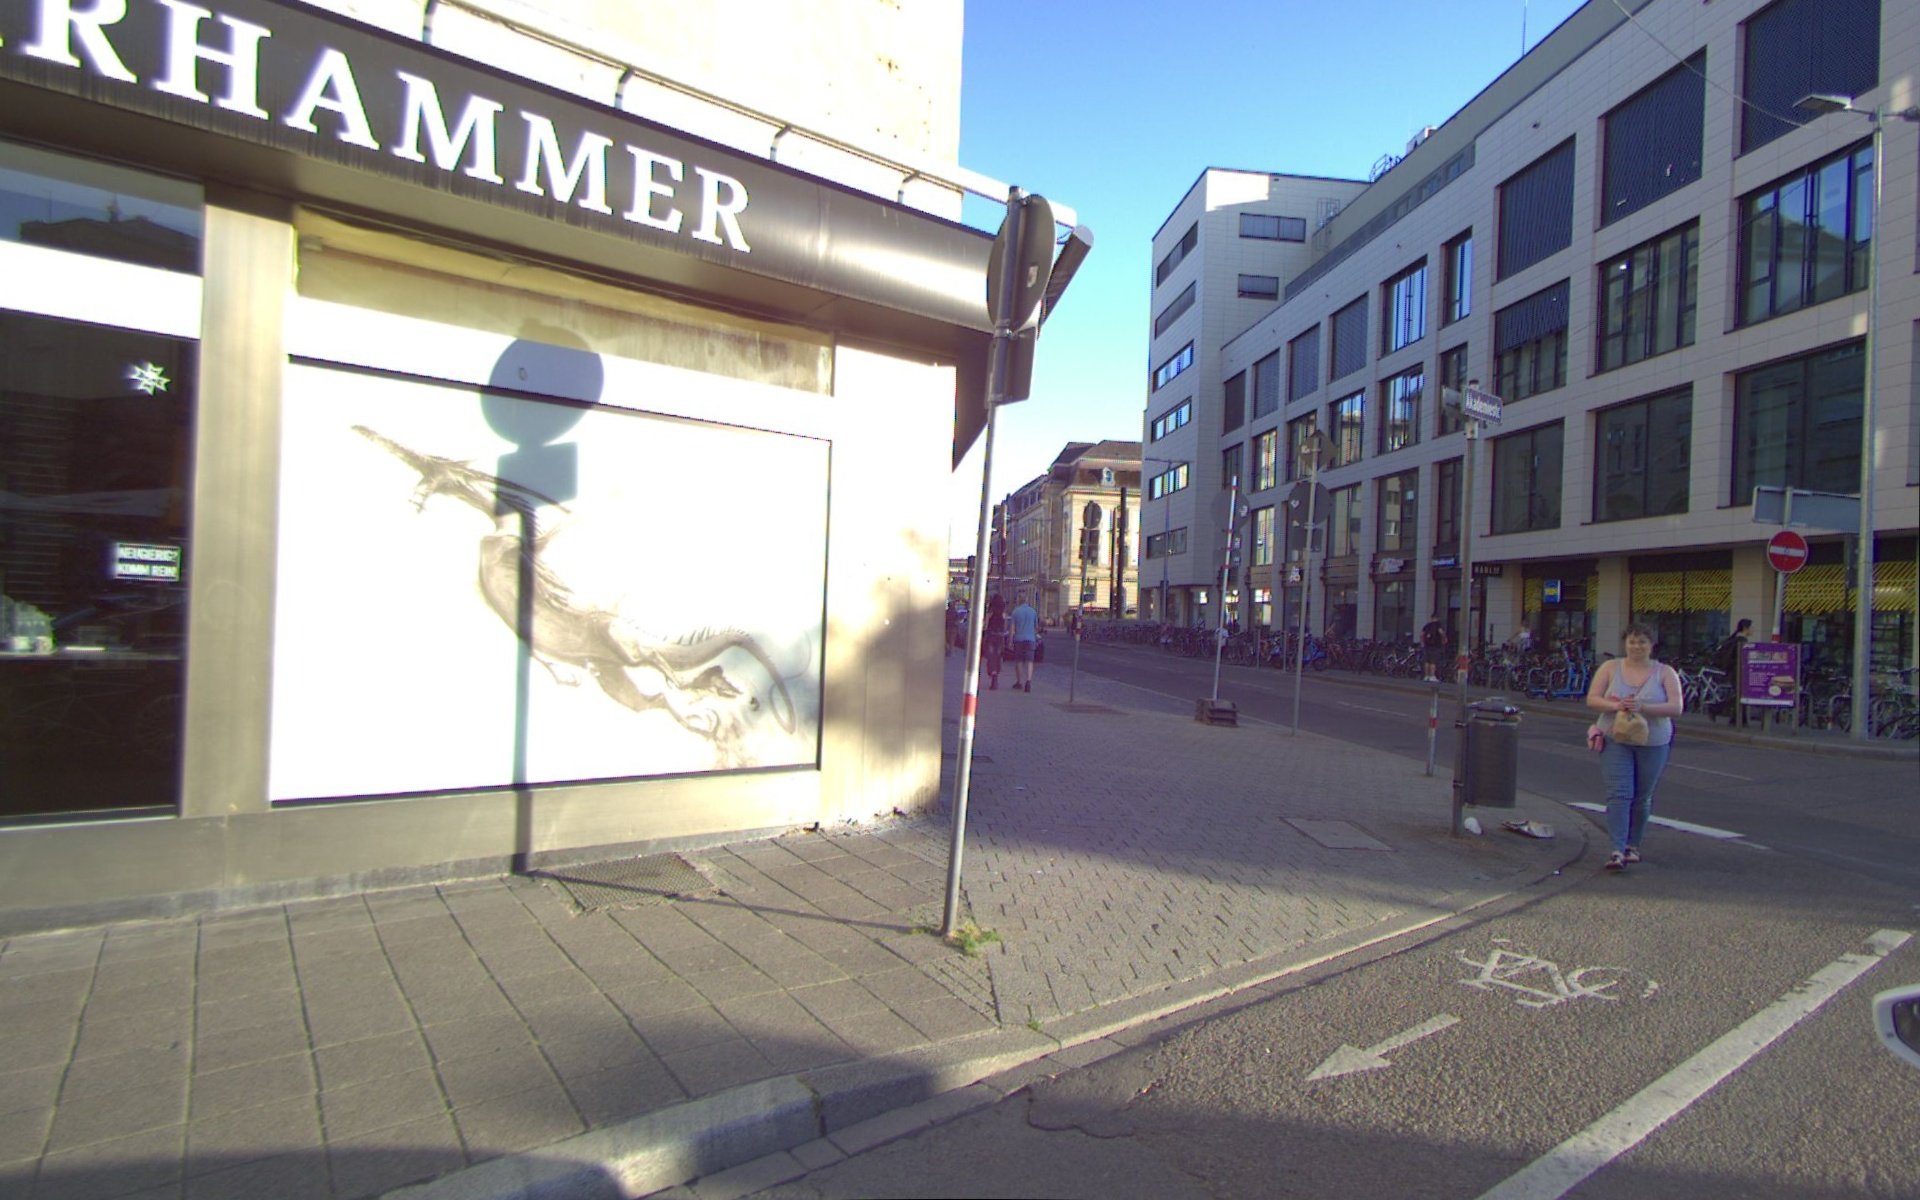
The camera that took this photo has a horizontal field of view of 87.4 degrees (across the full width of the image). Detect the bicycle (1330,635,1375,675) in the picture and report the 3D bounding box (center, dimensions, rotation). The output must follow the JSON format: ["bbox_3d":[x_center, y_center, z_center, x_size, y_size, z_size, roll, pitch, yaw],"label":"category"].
[{"bbox_3d":[13.708,1.908,35.119,0.504,1.271,1.976,3,0,-8],"label":"bicycle"}]

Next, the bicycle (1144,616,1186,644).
[{"bbox_3d":[10.054,1.477,49.232,1.946,1.271,0.512,3,0,-15],"label":"bicycle"}]

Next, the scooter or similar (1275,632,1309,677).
[{"bbox_3d":[10.005,1.640,30.309,0.506,1.259,1.270,3,0,-3],"label":"scooter or similar"}]

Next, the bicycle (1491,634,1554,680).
[{"bbox_3d":[17.020,1.707,30.450,0.601,1.271,1.977,3,0,-6],"label":"bicycle"}]

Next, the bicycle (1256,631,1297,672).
[{"bbox_3d":[10.951,1.757,34.789,0.504,1.271,1.976,3,0,-8],"label":"bicycle"}]

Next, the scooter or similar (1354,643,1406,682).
[{"bbox_3d":[11.387,1.693,27.229,1.247,0.954,0.387,3,0,-8],"label":"scooter or similar"}]

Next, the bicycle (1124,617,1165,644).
[{"bbox_3d":[9.455,1.572,51.463,1.946,1.271,0.512,3,0,-15],"label":"bicycle"}]

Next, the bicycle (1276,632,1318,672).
[{"bbox_3d":[11.663,1.789,34.849,0.504,1.271,1.976,3,0,-8],"label":"bicycle"}]

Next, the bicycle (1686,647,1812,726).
[{"bbox_3d":[13.983,1.535,17.810,1.943,1.271,0.512,3,0,-9],"label":"bicycle"}]

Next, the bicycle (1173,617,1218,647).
[{"bbox_3d":[11.084,1.498,47.282,1.942,1.271,0.513,3,0,-8],"label":"bicycle"}]

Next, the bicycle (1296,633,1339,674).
[{"bbox_3d":[12.415,1.851,34.925,0.504,1.271,1.976,3,0,-8],"label":"bicycle"}]

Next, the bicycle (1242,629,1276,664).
[{"bbox_3d":[12.090,1.872,40.663,0.504,1.271,1.976,3,0,-8],"label":"bicycle"}]

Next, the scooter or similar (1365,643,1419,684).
[{"bbox_3d":[11.410,1.671,26.550,1.247,1.005,0.387,3,0,-8],"label":"scooter or similar"}]

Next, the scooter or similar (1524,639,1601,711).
[{"bbox_3d":[11.494,1.430,19.169,1.247,1.277,0.387,3,0,-8],"label":"scooter or similar"}]

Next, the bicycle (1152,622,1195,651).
[{"bbox_3d":[10.238,1.755,48.275,1.946,1.271,0.512,3,0,-15],"label":"bicycle"}]

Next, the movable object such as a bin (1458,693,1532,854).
[{"bbox_3d":[3.855,1.227,7.232,0.355,1.078,0.354,2,0,43],"label":"movable object such as a bin"}]

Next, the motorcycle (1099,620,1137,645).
[{"bbox_3d":[8.727,1.771,55.422,1.946,1.271,0.512,3,0,-15],"label":"motorcycle"}]

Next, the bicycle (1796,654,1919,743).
[{"bbox_3d":[14.125,1.539,15.645,1.943,1.271,0.512,3,0,-10],"label":"bicycle"}]

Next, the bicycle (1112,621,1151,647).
[{"bbox_3d":[9.116,1.807,53.318,1.946,1.271,0.512,3,0,-15],"label":"bicycle"}]

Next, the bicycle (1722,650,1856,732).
[{"bbox_3d":[14.040,1.537,17.024,1.942,1.271,0.513,3,0,-8],"label":"bicycle"}]

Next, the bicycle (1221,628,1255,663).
[{"bbox_3d":[11.252,1.835,40.688,0.504,1.271,1.976,3,0,-8],"label":"bicycle"}]

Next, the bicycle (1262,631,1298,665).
[{"bbox_3d":[12.941,1.918,40.651,0.504,1.271,1.976,3,0,-8],"label":"bicycle"}]

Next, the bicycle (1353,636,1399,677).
[{"bbox_3d":[14.468,1.956,35.007,0.504,1.271,1.976,3,0,-8],"label":"bicycle"}]

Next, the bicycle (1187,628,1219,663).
[{"bbox_3d":[9.744,1.805,40.283,0.504,1.271,1.976,3,0,-8],"label":"bicycle"}]

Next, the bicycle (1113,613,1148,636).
[{"bbox_3d":[10.238,1.485,60.313,1.946,1.271,0.512,3,0,-15],"label":"bicycle"}]

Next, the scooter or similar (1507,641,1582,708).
[{"bbox_3d":[11.493,1.455,19.759,1.247,1.228,0.387,3,0,-8],"label":"scooter or similar"}]

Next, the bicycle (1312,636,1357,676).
[{"bbox_3d":[13.009,1.924,34.946,0.504,1.271,1.976,3,0,-8],"label":"bicycle"}]

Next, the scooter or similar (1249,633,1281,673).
[{"bbox_3d":[9.803,1.700,32.321,0.506,1.196,1.270,3,0,-3],"label":"scooter or similar"}]

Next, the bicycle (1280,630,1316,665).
[{"bbox_3d":[13.703,1.918,40.796,0.504,1.271,1.976,3,0,-8],"label":"bicycle"}]

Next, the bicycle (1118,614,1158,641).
[{"bbox_3d":[9.326,1.440,52.595,1.946,1.271,0.512,3,0,-15],"label":"bicycle"}]

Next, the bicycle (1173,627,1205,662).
[{"bbox_3d":[9.118,1.754,40.025,0.504,1.271,1.976,3,0,-8],"label":"bicycle"}]

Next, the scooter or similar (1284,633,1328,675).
[{"bbox_3d":[11.035,1.736,32.048,1.247,1.259,0.387,3,0,-8],"label":"scooter or similar"}]

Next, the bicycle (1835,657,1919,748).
[{"bbox_3d":[14.258,1.545,15.019,2.007,1.271,0.582,3,0,-10],"label":"bicycle"}]

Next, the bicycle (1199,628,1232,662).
[{"bbox_3d":[10.288,1.791,40.470,0.504,1.271,1.976,3,0,-8],"label":"bicycle"}]

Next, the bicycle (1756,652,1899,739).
[{"bbox_3d":[14.035,1.535,16.262,1.942,1.271,0.513,3,0,-5],"label":"bicycle"}]

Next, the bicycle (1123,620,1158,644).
[{"bbox_3d":[10.442,1.834,58.094,1.946,1.271,0.512,3,0,-15],"label":"bicycle"}]

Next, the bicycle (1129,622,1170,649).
[{"bbox_3d":[9.544,1.783,50.692,1.946,1.271,0.512,3,0,-15],"label":"bicycle"}]

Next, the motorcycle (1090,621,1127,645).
[{"bbox_3d":[8.388,1.883,56.808,1.946,1.271,0.512,3,0,-15],"label":"motorcycle"}]
